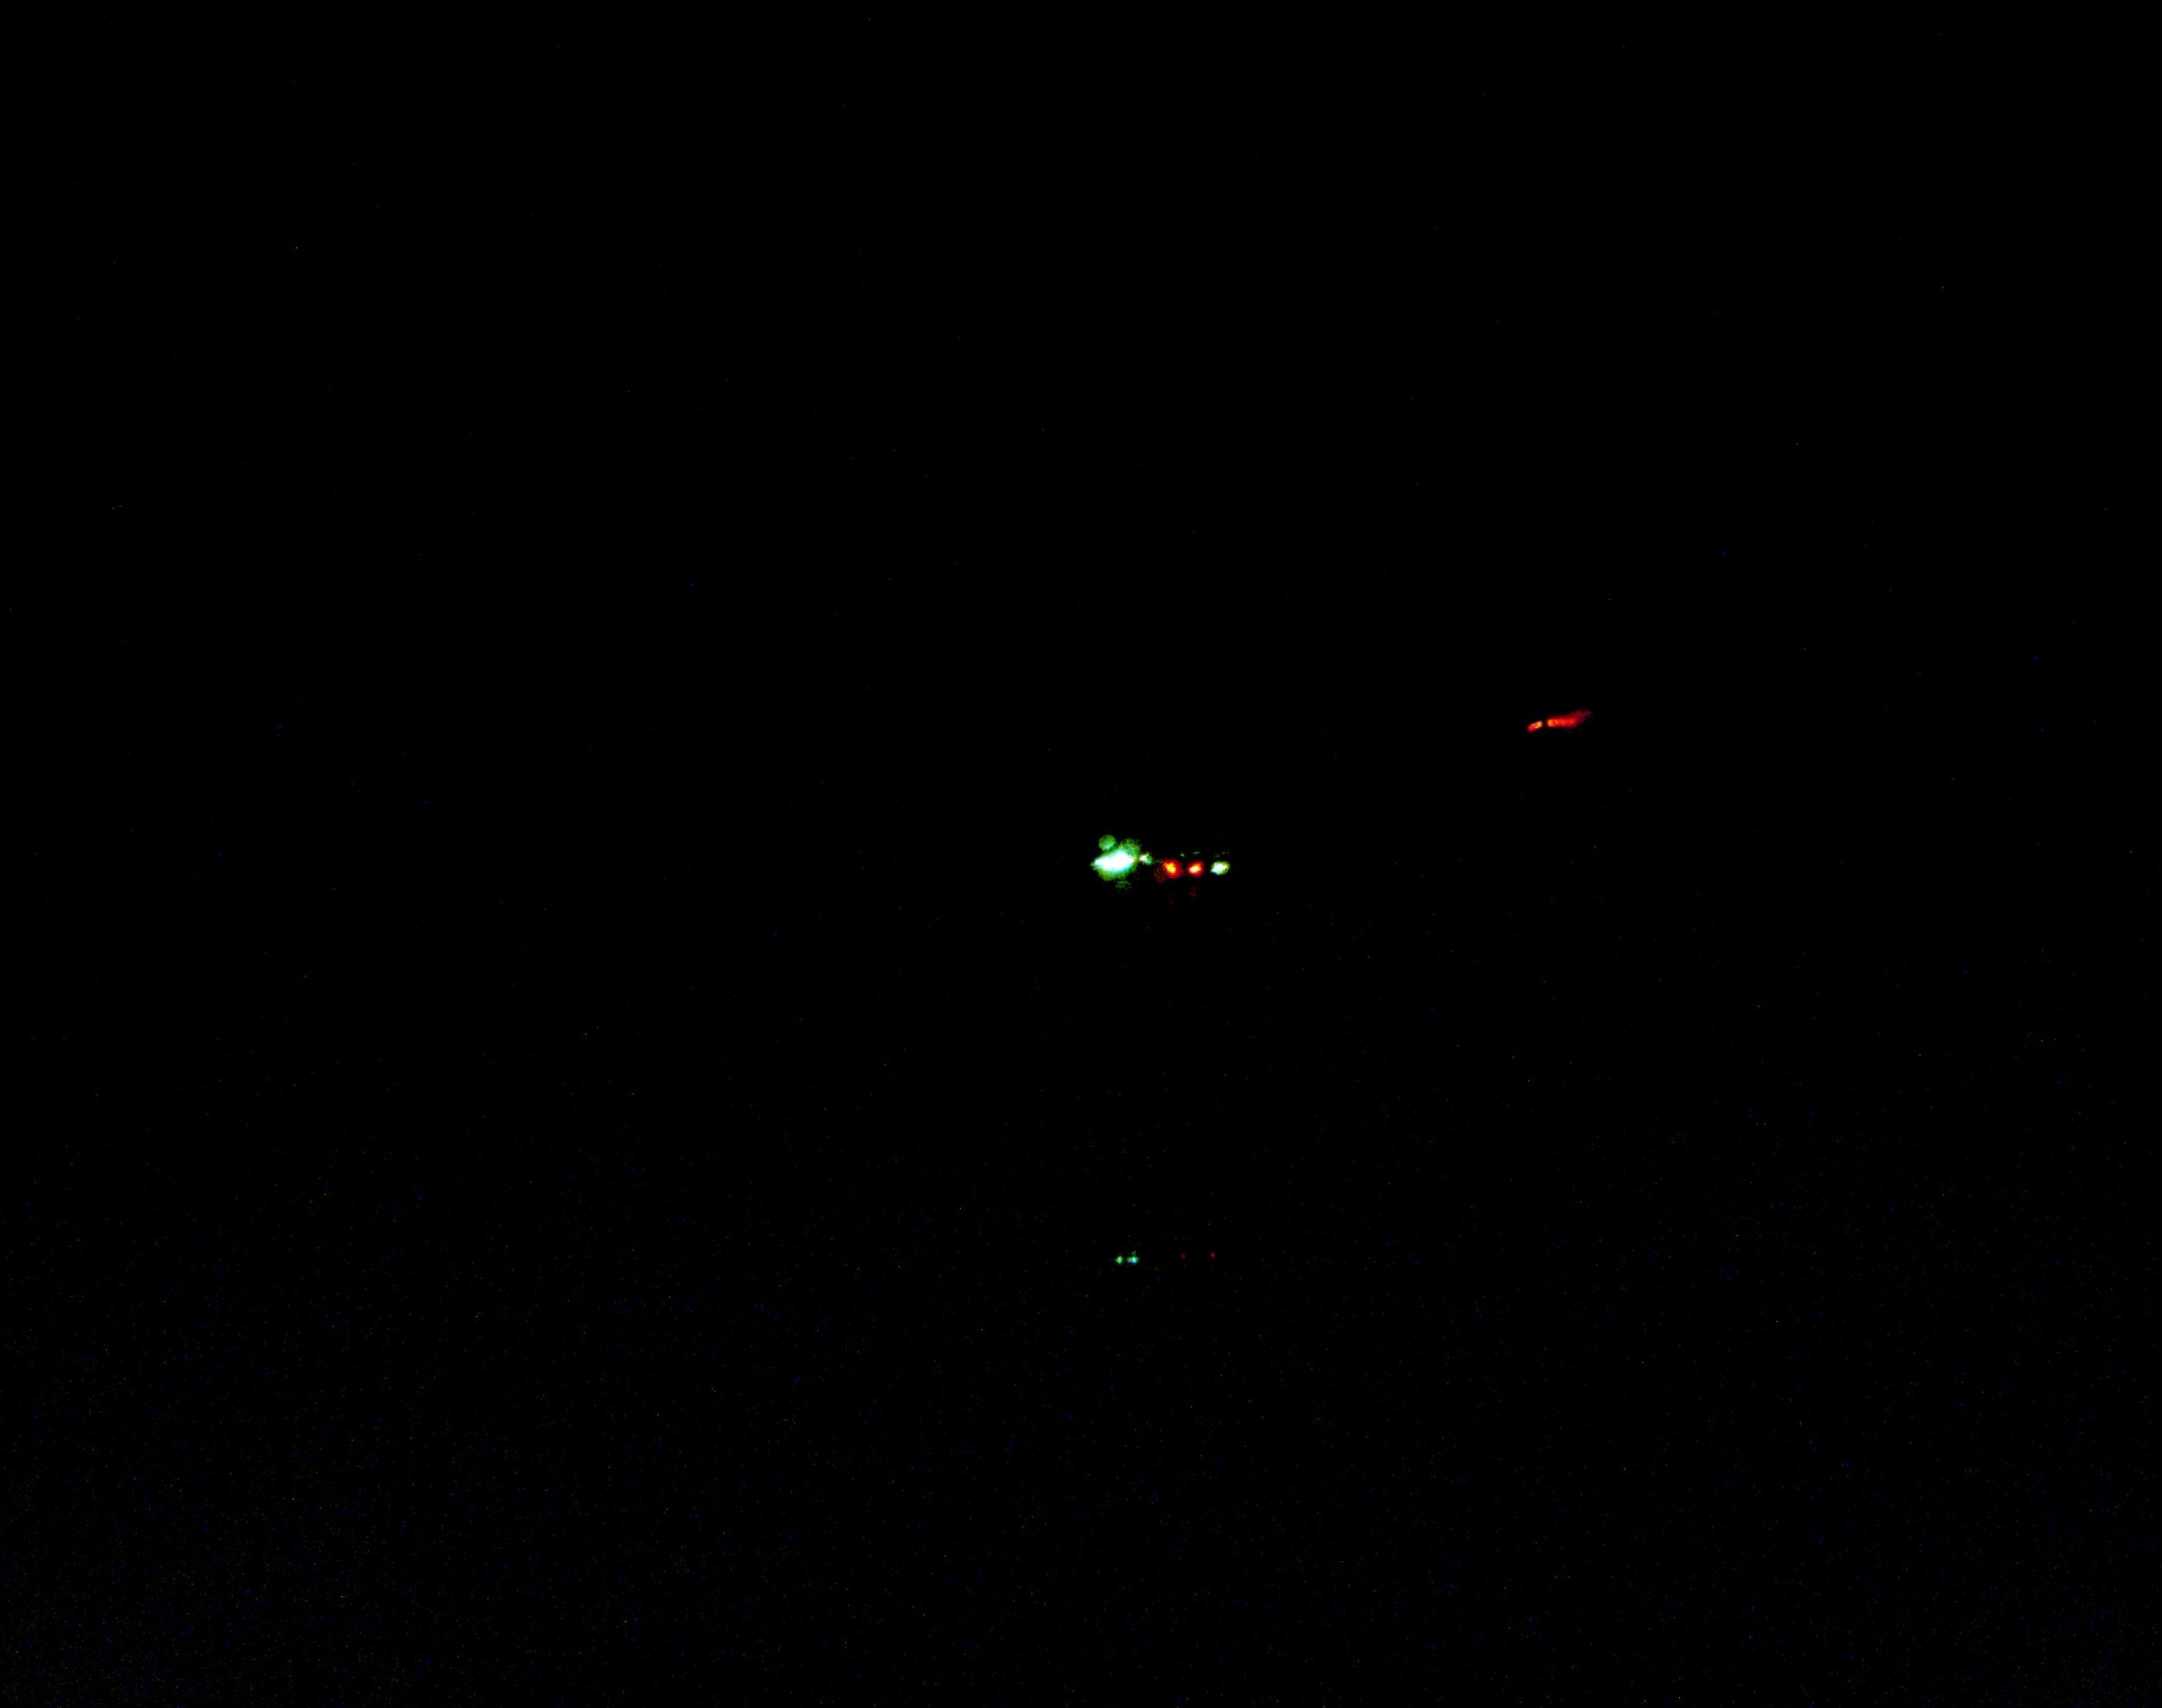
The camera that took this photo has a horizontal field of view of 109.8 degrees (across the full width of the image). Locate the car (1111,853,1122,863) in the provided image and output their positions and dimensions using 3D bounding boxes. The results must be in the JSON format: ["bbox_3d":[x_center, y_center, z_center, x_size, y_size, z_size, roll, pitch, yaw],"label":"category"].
[{"bbox_3d":[6.027,0.667,129.690,1.823,1.565,4.107,-2,1,3],"label":"car"}]

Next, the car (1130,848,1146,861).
[{"bbox_3d":[7.462,0.017,99.499,1.831,1.608,3.728,-2,1,3],"label":"car"}]

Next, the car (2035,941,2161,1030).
[{"bbox_3d":[25.150,3.086,17.170,1.813,1.666,4.292,-2,1,1],"label":"car"}]

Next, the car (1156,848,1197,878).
[{"bbox_3d":[4.854,0.407,39.086,1.716,1.409,4.065,-2,1,2],"label":"car"}]

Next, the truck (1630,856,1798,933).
[{"bbox_3d":[32.657,1.921,39.749,2.761,3.462,8.109,-2,0,7],"label":"truck"}]

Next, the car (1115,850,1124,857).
[{"bbox_3d":[8.932,-0.101,176.840,1.782,1.565,4.001,-2,1,4],"label":"car"}]
